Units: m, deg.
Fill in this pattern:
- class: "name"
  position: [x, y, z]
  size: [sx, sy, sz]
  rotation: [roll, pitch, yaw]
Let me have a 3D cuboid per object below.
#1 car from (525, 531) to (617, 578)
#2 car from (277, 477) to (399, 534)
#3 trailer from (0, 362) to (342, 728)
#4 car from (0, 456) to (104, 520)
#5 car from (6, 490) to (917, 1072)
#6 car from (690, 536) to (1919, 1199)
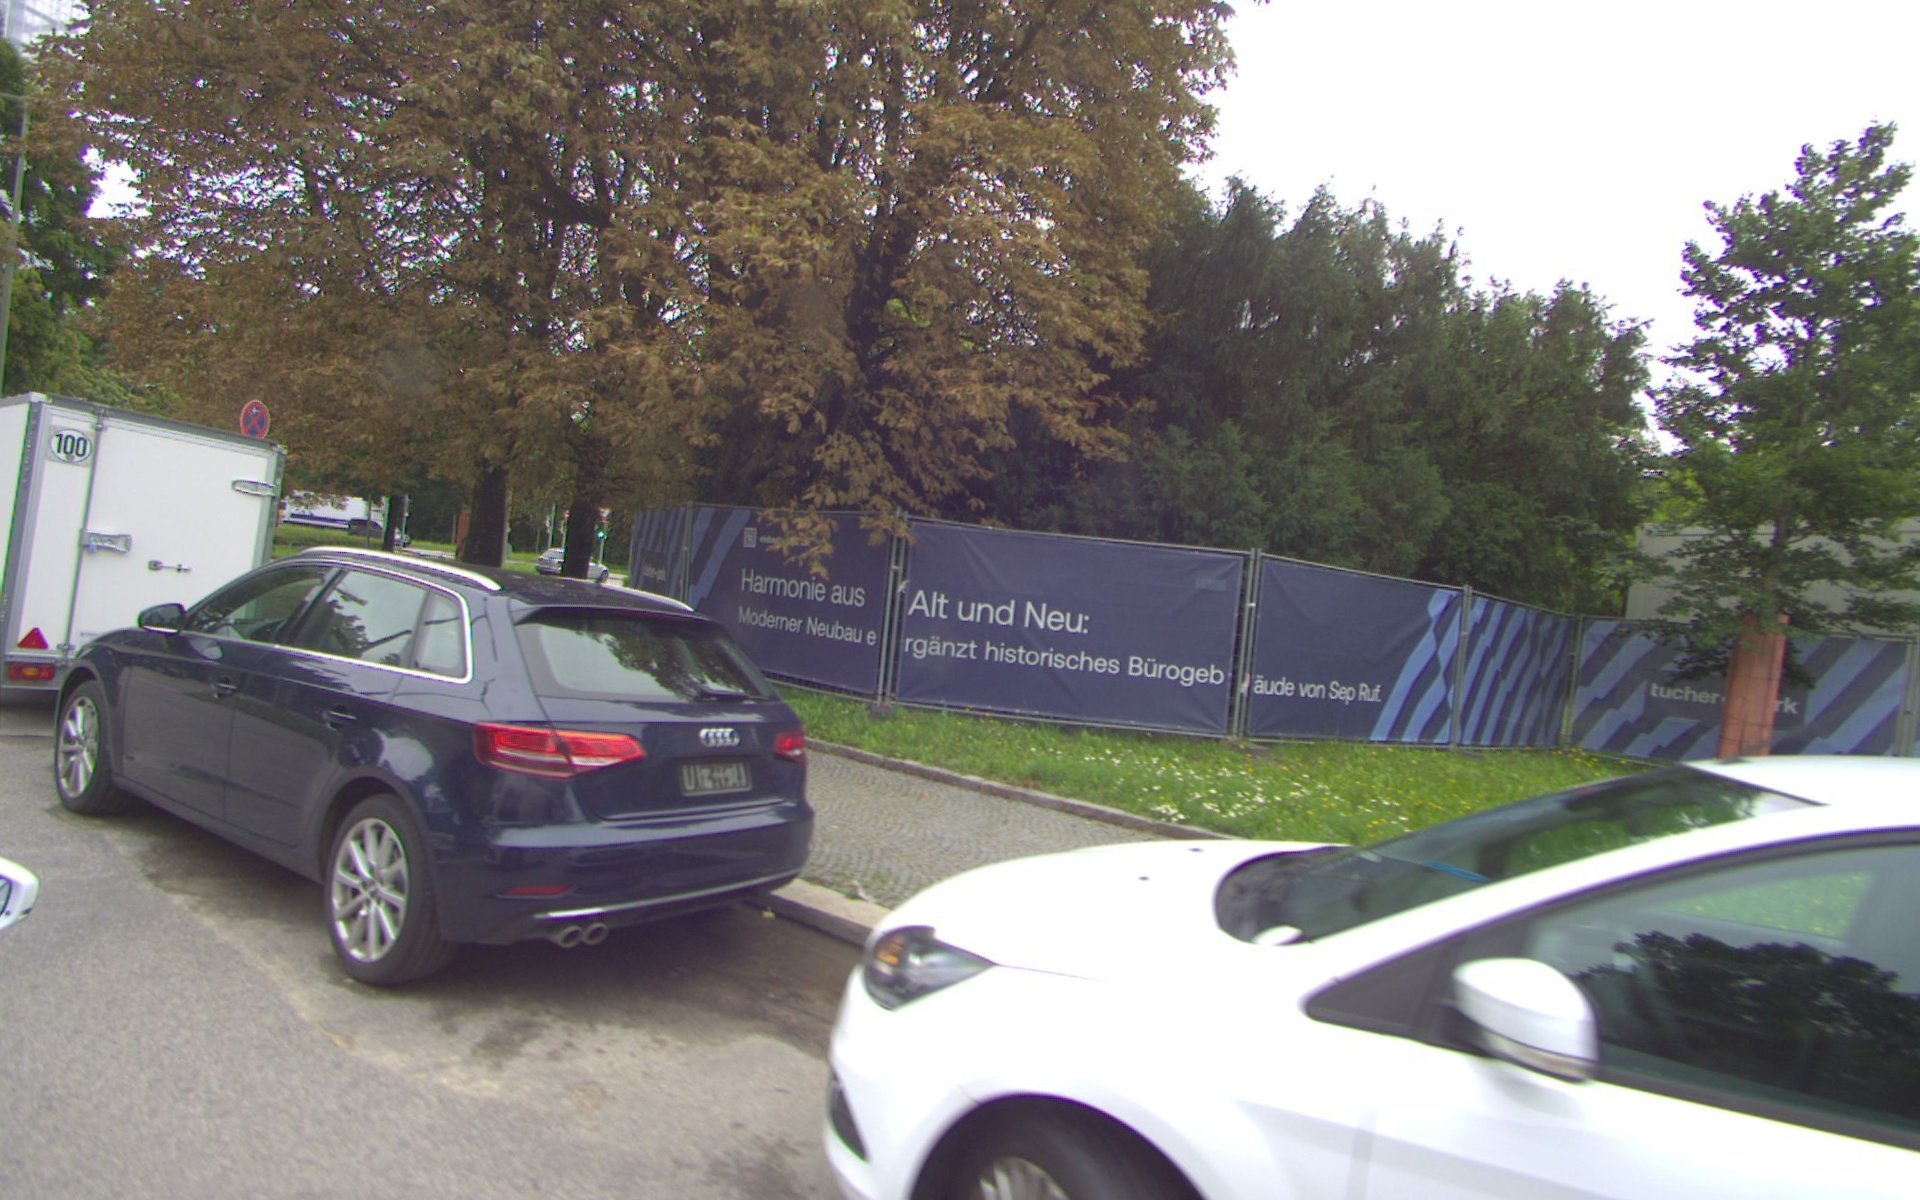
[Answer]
- class: "car"
  position: [-19.001, -2.192, 49.296]
  size: [1.962, 1.772, 4.125]
  rotation: [7, 0, 16]
- class: "car"
  position: [-52.277, -7.932, 84.640]
  size: [8.553, 3.492, 3.095]
  rotation: [7, 1, 10]
- class: "trailer"
  position: [-6.630, -0.447, 7.776]
  size: [4.768, 2.039, 1.805]
  rotation: [7, 1, 43]
- class: "car"
  position: [-31.413, -3.814, 33.513]
  size: [1.857, 1.625, 4.398]
  rotation: [7, -1, 0]
- class: "car"
  position: [-2.547, 0.450, 4.813]
  size: [4.256, 1.456, 1.873]
  rotation: [8, 2, 32]
- class: "car"
  position: [1.723, 0.896, 1.955]
  size: [4.147, 1.505, 1.770]
  rotation: [7, 1, 28]
